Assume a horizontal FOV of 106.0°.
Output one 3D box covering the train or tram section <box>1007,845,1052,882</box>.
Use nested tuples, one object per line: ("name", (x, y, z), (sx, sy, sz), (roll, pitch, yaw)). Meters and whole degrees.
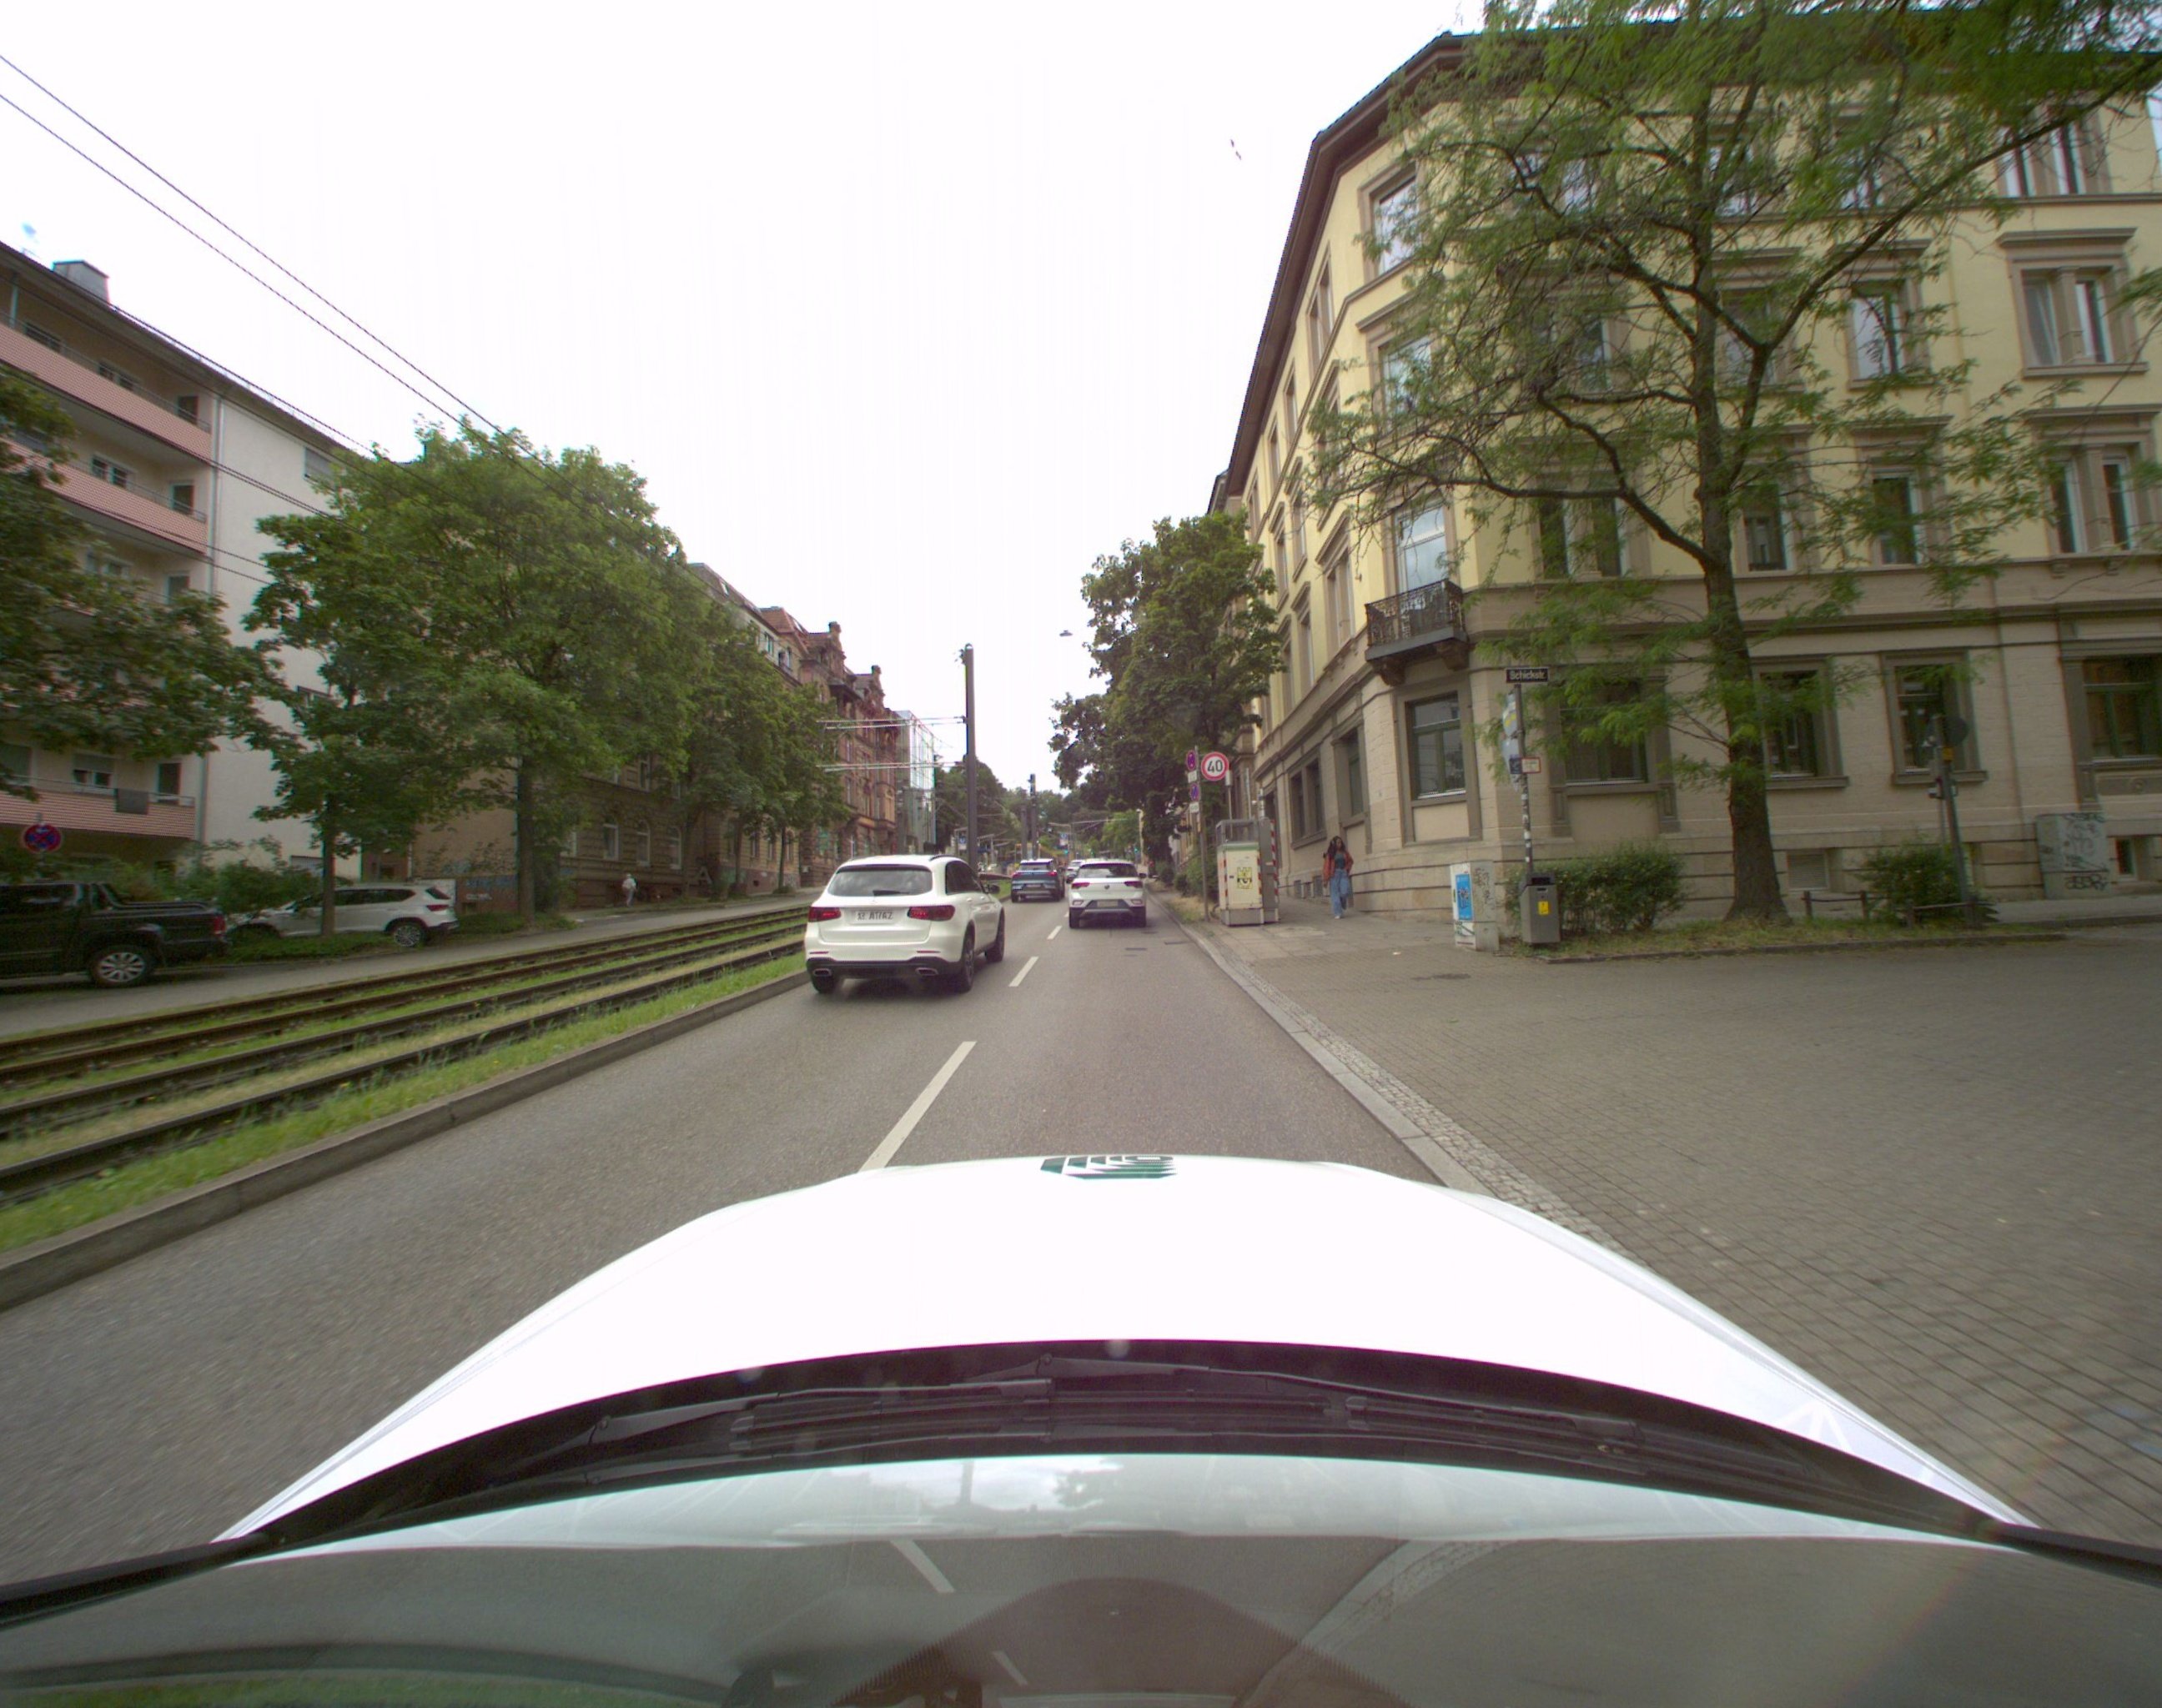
("train or tram section", (-5.167, 0.985, 84.297), (2.983, 3.349, 13.449), (-2, -1, 3))

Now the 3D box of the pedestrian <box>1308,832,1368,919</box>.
("pedestrian", (5.140, 0.410, 16.361), (0.709, 1.662, 1.124), (-2, 0, -6))

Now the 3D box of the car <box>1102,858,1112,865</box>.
("car", (5.909, 1.747, 185.138), (2.060, 1.546, 4.196), (-1, -1, 2))

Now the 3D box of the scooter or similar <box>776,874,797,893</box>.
("scooter or similar", (-20.506, 2.054, 56.836), (0.627, 1.255, 2.214), (-2, -1, 0))

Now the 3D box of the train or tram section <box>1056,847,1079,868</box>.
("train or tram section", (-2.261, 0.638, 141.806), (2.983, 3.349, 13.449), (-2, -1, 3))

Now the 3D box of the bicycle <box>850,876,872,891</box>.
("bicycle", (-17.956, 2.414, 66.597), (0.934, 1.100, 2.704), (-2, 0, 2))

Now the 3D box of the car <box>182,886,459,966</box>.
("car", (-18.160, 1.646, 19.824), (4.623, 1.617, 1.916), (0, -1, -32))

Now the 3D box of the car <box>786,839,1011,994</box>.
("car", (-2.185, 0.706, 11.170), (1.828, 1.667, 4.673), (-1, -1, 2))

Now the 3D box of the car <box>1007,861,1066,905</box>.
("car", (-1.610, 1.061, 30.998), (1.828, 1.546, 4.196), (-1, -1, 2))

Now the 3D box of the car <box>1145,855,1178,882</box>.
("car", (5.293, 0.954, 53.965), (1.828, 1.601, 4.196), (-4, -1, 2))

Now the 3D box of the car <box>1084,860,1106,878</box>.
("car", (1.287, 1.311, 73.632), (1.828, 1.546, 4.196), (-1, -1, 2))

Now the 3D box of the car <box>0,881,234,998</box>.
("car", (-17.797, 1.414, 13.856), (4.634, 1.797, 1.912), (0, -1, -45))

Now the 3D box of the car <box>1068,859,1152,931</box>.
("car", (0.679, 0.927, 19.931), (1.829, 1.546, 4.194), (-1, -1, 1))

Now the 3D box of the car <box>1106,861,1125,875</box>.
("car", (3.921, 1.543, 92.296), (2.060, 1.546, 4.196), (-1, -1, 2))

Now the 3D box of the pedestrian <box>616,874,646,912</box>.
("pedestrian", (-20.821, 1.799, 37.676), (0.828, 1.684, 0.848), (-3, -1, 0))

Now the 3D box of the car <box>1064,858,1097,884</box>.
("car", (0.012, 1.055, 51.600), (1.828, 1.546, 4.196), (-1, -1, 2))

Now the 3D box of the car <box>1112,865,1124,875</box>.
("car", (6.050, 2.571, 133.278), (2.060, 1.546, 4.196), (-1, -1, 2))

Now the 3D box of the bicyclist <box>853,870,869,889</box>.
("bicyclist", (-17.975, 2.088, 66.645), (0.934, 1.425, 1.188), (-2, -1, 2))
